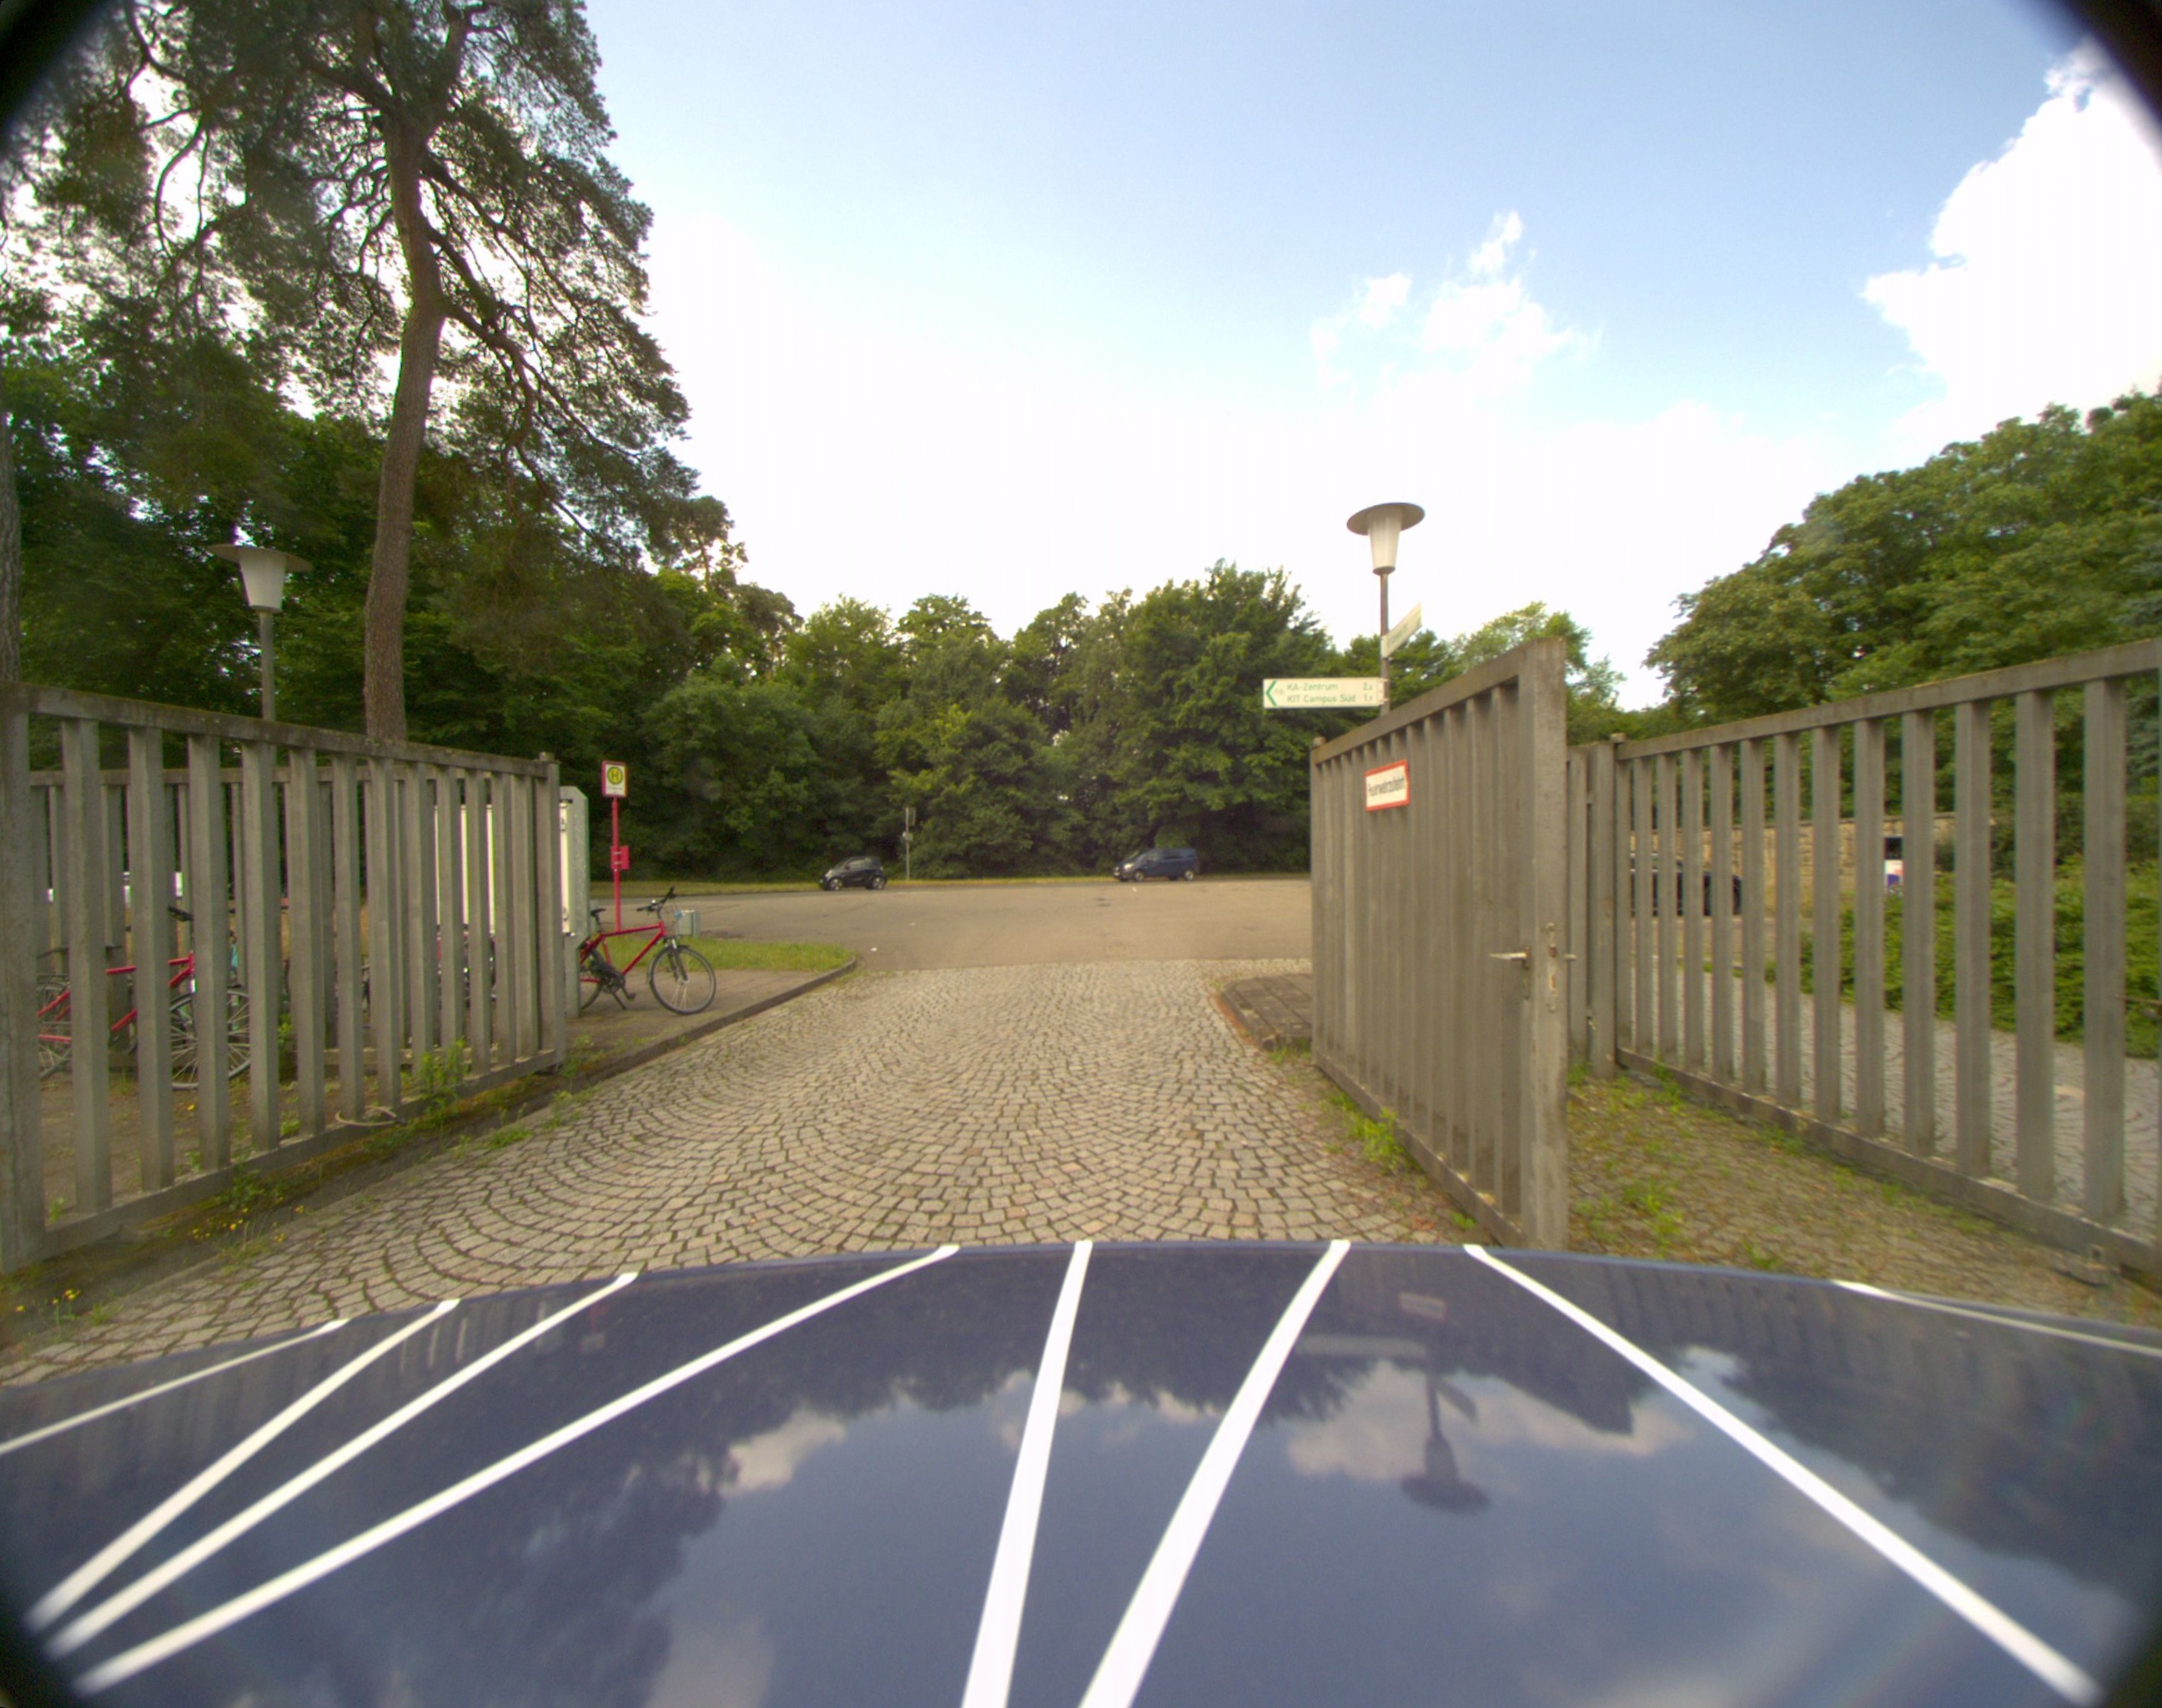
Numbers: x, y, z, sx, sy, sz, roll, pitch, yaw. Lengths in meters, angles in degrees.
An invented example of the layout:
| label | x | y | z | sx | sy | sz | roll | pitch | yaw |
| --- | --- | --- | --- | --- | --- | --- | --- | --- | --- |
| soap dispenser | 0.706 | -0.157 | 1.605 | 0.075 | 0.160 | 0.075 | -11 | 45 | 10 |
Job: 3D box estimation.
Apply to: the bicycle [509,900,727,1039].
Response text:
| label | x | y | z | sx | sy | sz | roll | pitch | yaw |
| --- | --- | --- | --- | --- | --- | --- | --- | --- | --- |
| bicycle | -4.467 | 1.091 | 7.440 | 1.655 | 1.223 | 0.749 | 0 | 1 | -6 |

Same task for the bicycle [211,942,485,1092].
| label | x | y | z | sx | sy | sz | roll | pitch | yaw |
| --- | --- | --- | --- | --- | --- | --- | --- | --- | --- |
| bicycle | -5.482 | 1.203 | 5.716 | 1.730 | 1.027 | 0.387 | 0 | 1 | 2 |

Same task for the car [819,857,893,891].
| label | x | y | z | sx | sy | sz | roll | pitch | yaw |
| --- | --- | --- | --- | --- | --- | --- | --- | --- | --- |
| car | -10.108 | 0.879 | 34.174 | 2.889 | 1.437 | 1.651 | -1 | 1 | -30 |

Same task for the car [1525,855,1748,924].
| label | x | y | z | sx | sy | sz | roll | pitch | yaw |
| --- | --- | --- | --- | --- | --- | --- | --- | --- | --- |
| car | 13.322 | 0.832 | 18.444 | 3.995 | 1.508 | 1.803 | -1 | 0 | 7 |

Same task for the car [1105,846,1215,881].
| label | x | y | z | sx | sy | sz | roll | pitch | yaw |
| --- | --- | --- | --- | --- | --- | --- | --- | --- | --- |
| car | 4.466 | 0.507 | 42.697 | 5.954 | 1.825 | 1.996 | -1 | 1 | -25 |

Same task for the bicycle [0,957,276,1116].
| label | x | y | z | sx | sy | sz | roll | pitch | yaw |
| --- | --- | --- | --- | --- | --- | --- | --- | --- | --- |
| bicycle | -6.652 | 1.195 | 5.089 | 1.868 | 0.934 | 0.503 | 0 | 1 | -4 |

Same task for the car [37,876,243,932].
| label | x | y | z | sx | sy | sz | roll | pitch | yaw |
| --- | --- | --- | --- | --- | --- | --- | --- | --- | --- |
| car | -28.361 | 1.458 | 23.070 | 3.531 | 1.437 | 1.651 | -1 | 1 | -30 |
